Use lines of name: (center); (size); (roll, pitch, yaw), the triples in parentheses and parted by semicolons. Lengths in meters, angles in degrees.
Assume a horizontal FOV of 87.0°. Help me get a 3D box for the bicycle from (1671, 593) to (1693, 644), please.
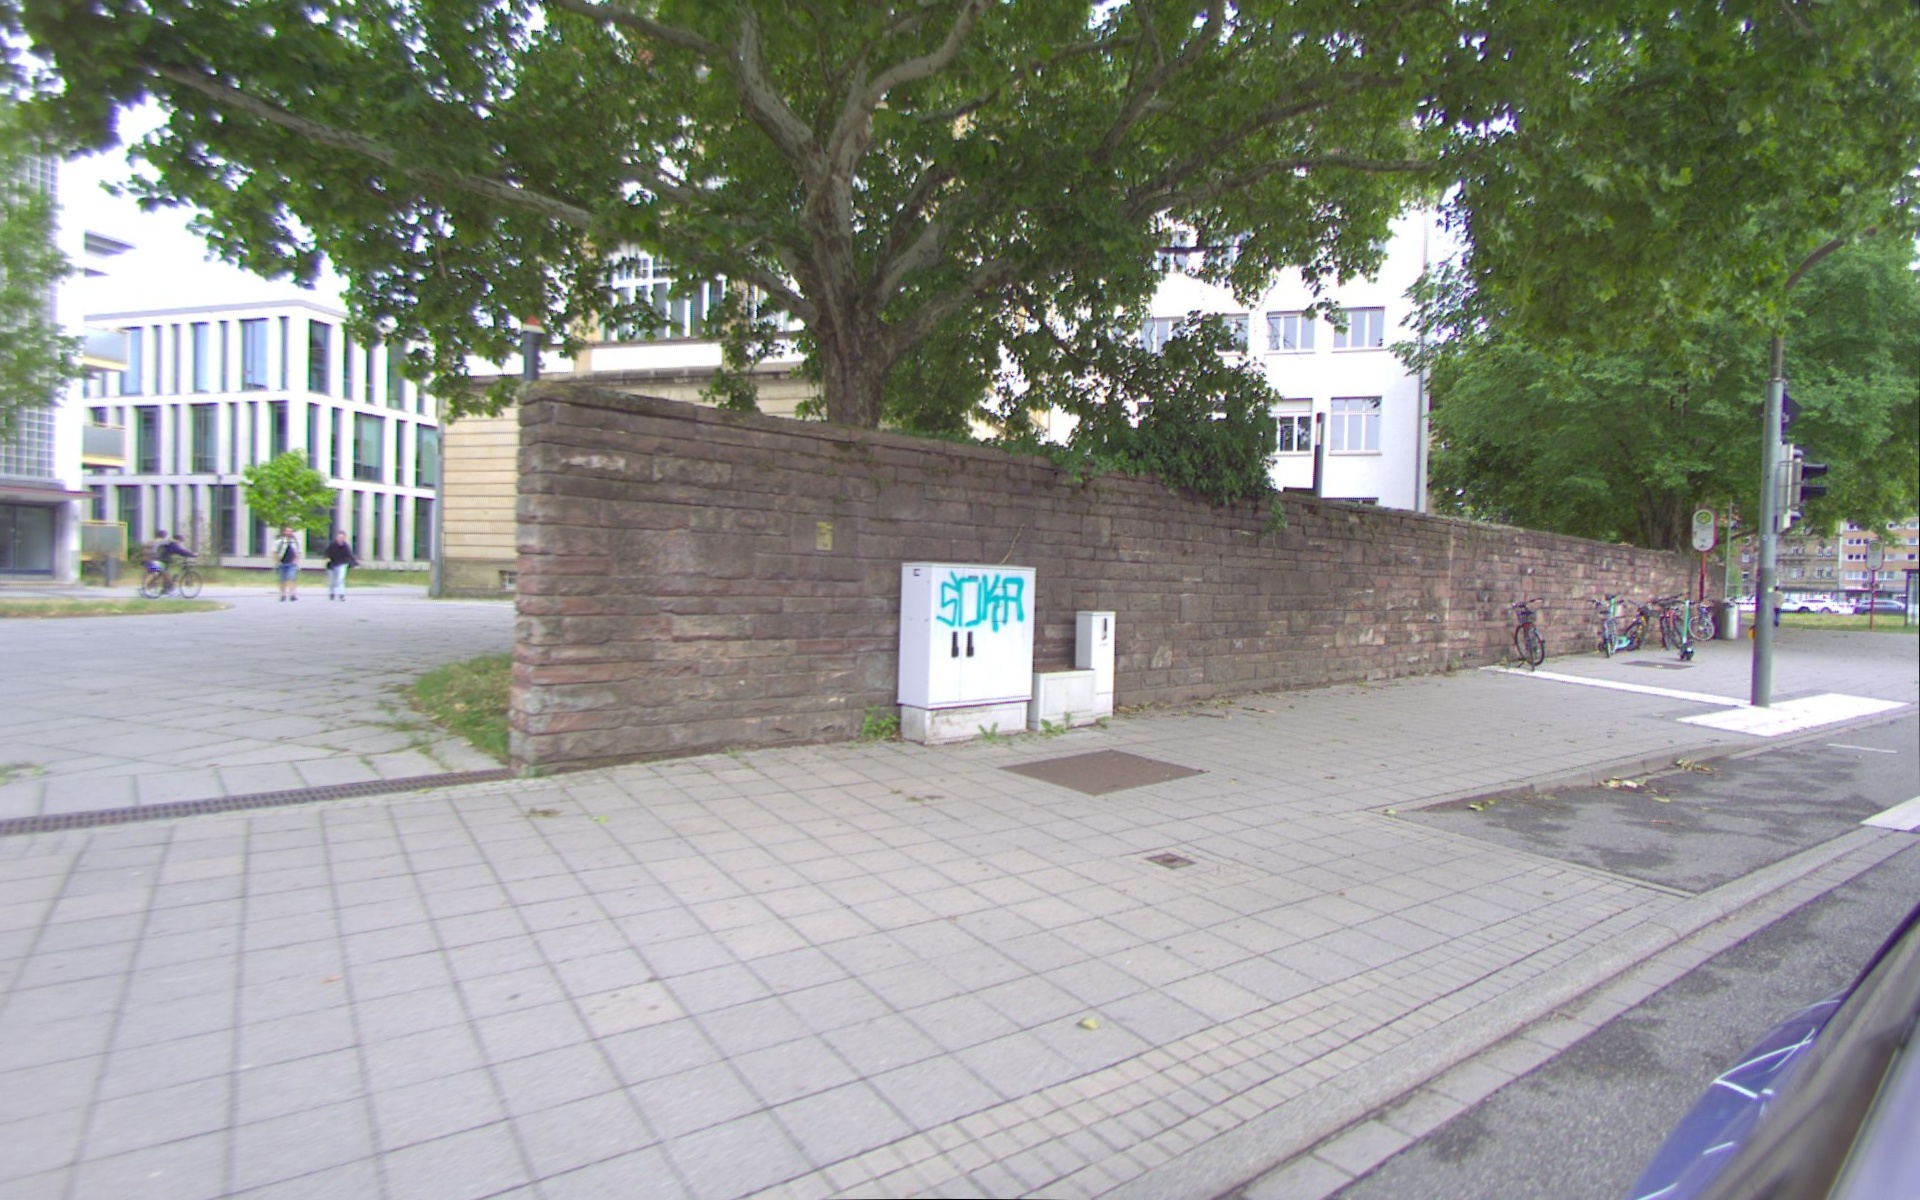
bicycle: (17.002, 0.412, 23.820); (0.337, 1.158, 1.914); (0, 0, 39)

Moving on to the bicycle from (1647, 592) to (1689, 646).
bicycle: (15.857, 0.411, 22.697); (0.382, 1.158, 1.926); (0, 0, 24)

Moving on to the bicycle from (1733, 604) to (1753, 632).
bicycle: (27.722, 0.623, 35.847); (0.362, 0.951, 1.622); (2, 2, 32)

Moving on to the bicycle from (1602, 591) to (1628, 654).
bicycle: (12.601, 0.409, 19.453); (0.383, 1.158, 1.918); (0, 0, 34)

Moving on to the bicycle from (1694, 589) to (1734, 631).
bicycle: (20.522, 0.269, 27.530); (2.047, 1.089, 0.477); (0, 2, -43)

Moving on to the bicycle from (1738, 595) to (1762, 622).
bicycle: (29.756, 0.316, 38.142); (0.478, 0.951, 1.878); (2, 2, 32)

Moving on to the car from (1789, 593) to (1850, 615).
car: (78.631, 0.317, 92.589); (1.965, 1.792, 3.995); (0, 2, -41)

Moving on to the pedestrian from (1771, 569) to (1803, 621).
pedestrian: (33.655, -0.230, 41.195); (0.779, 2.037, 0.879); (4, 5, 33)

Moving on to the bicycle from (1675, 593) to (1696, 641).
bicycle: (18.131, 0.411, 25.274); (0.337, 1.158, 1.654); (0, 0, 39)

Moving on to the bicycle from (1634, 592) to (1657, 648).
bicycle: (14.726, 0.409, 21.749); (0.383, 1.158, 1.918); (0, 0, 34)

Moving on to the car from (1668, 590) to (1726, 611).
car: (72.867, 0.047, 100.146); (1.964, 2.039, 4.281); (0, 0, -39)
